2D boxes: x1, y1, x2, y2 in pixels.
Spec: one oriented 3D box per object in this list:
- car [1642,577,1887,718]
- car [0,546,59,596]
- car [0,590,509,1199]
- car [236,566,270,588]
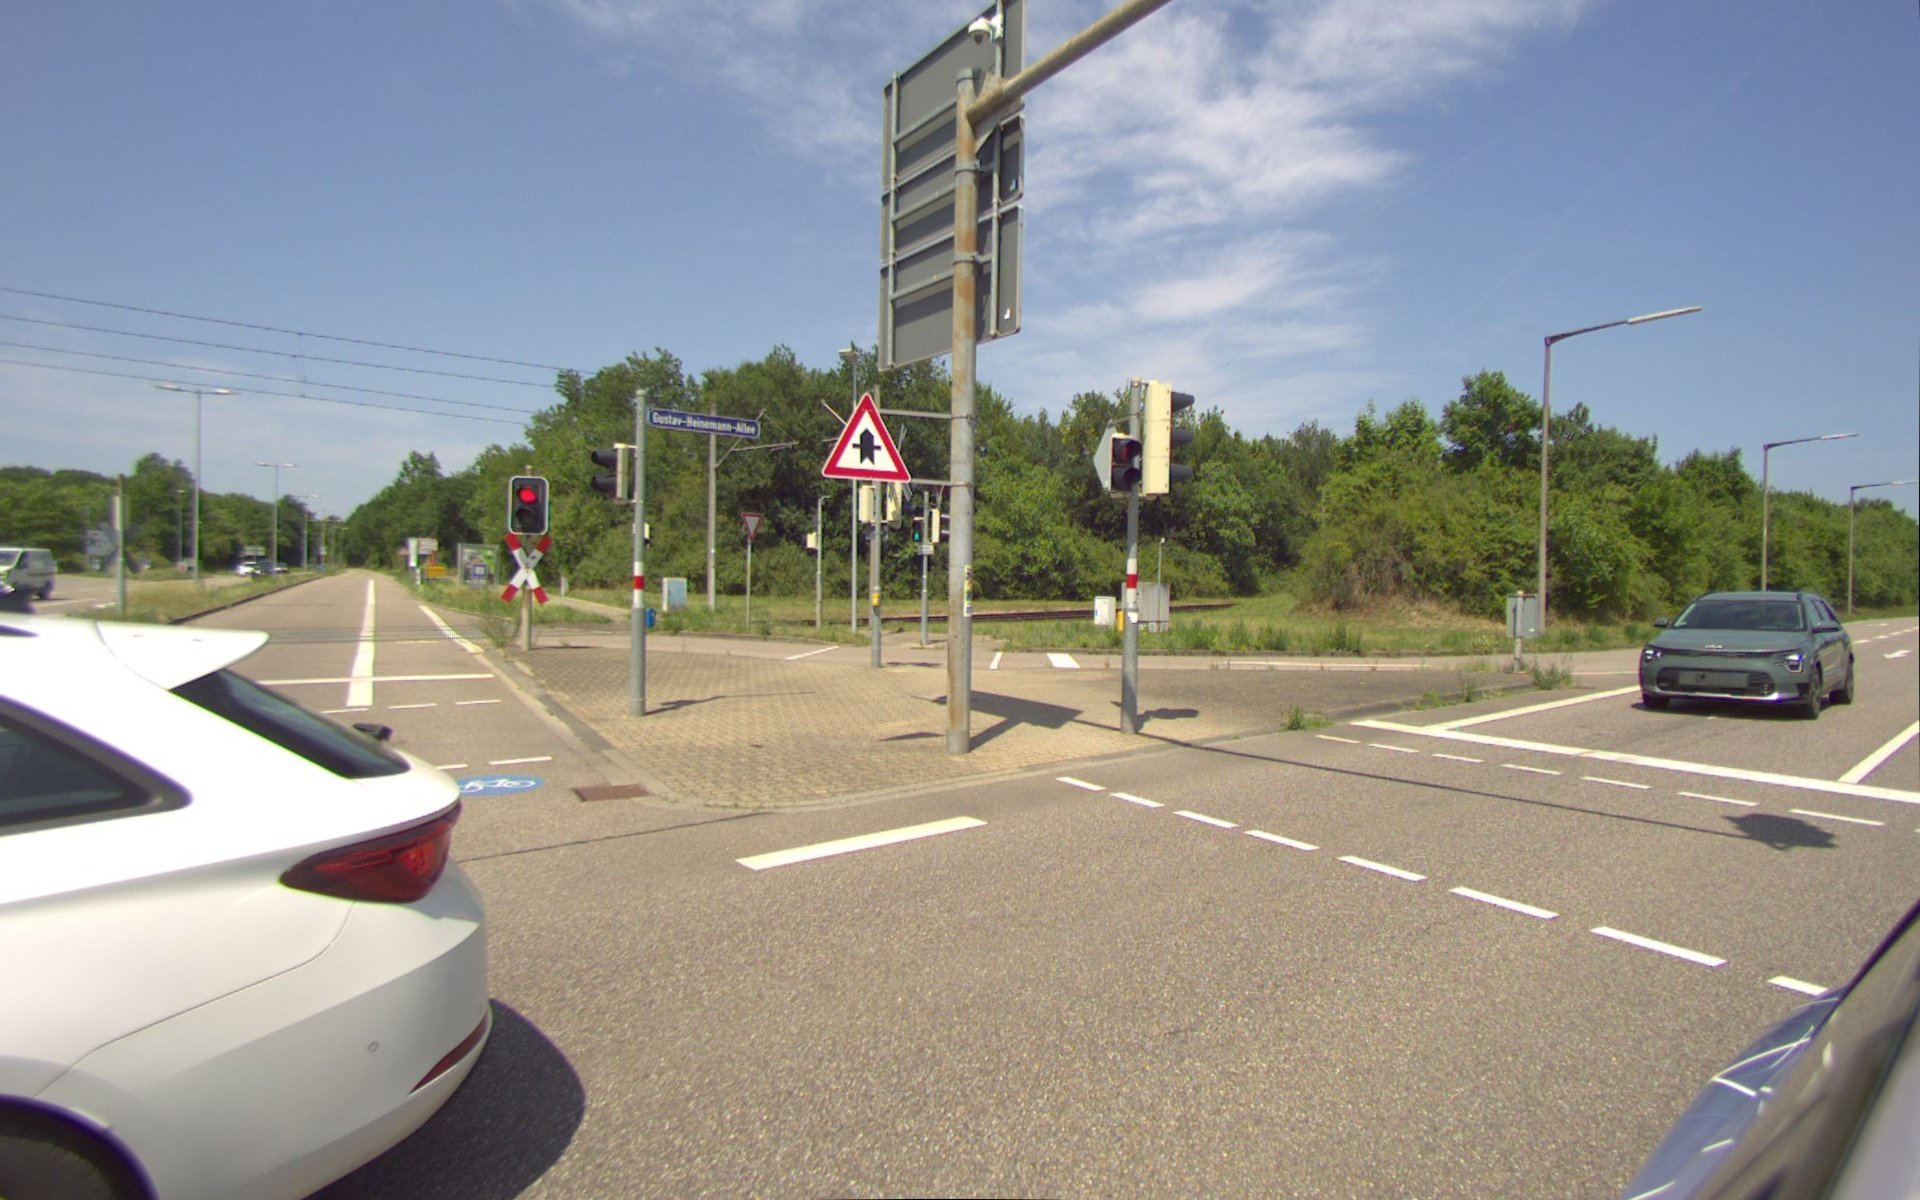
[{"bbox_3d":[10.855,0.530,13.574,3.927,1.616,1.723,0,1,-39],"label":"car"},{"bbox_3d":[-35.362,-1.014,37.251,1.790,1.750,5.081,-1,1,-24],"label":"car"},{"bbox_3d":[-3.127,0.697,1.293,4.375,1.407,1.684,0,1,-43],"label":"car"},{"bbox_3d":[-59.827,-1.976,85.697,1.960,1.812,4.004,0,1,-30],"label":"car"}]
